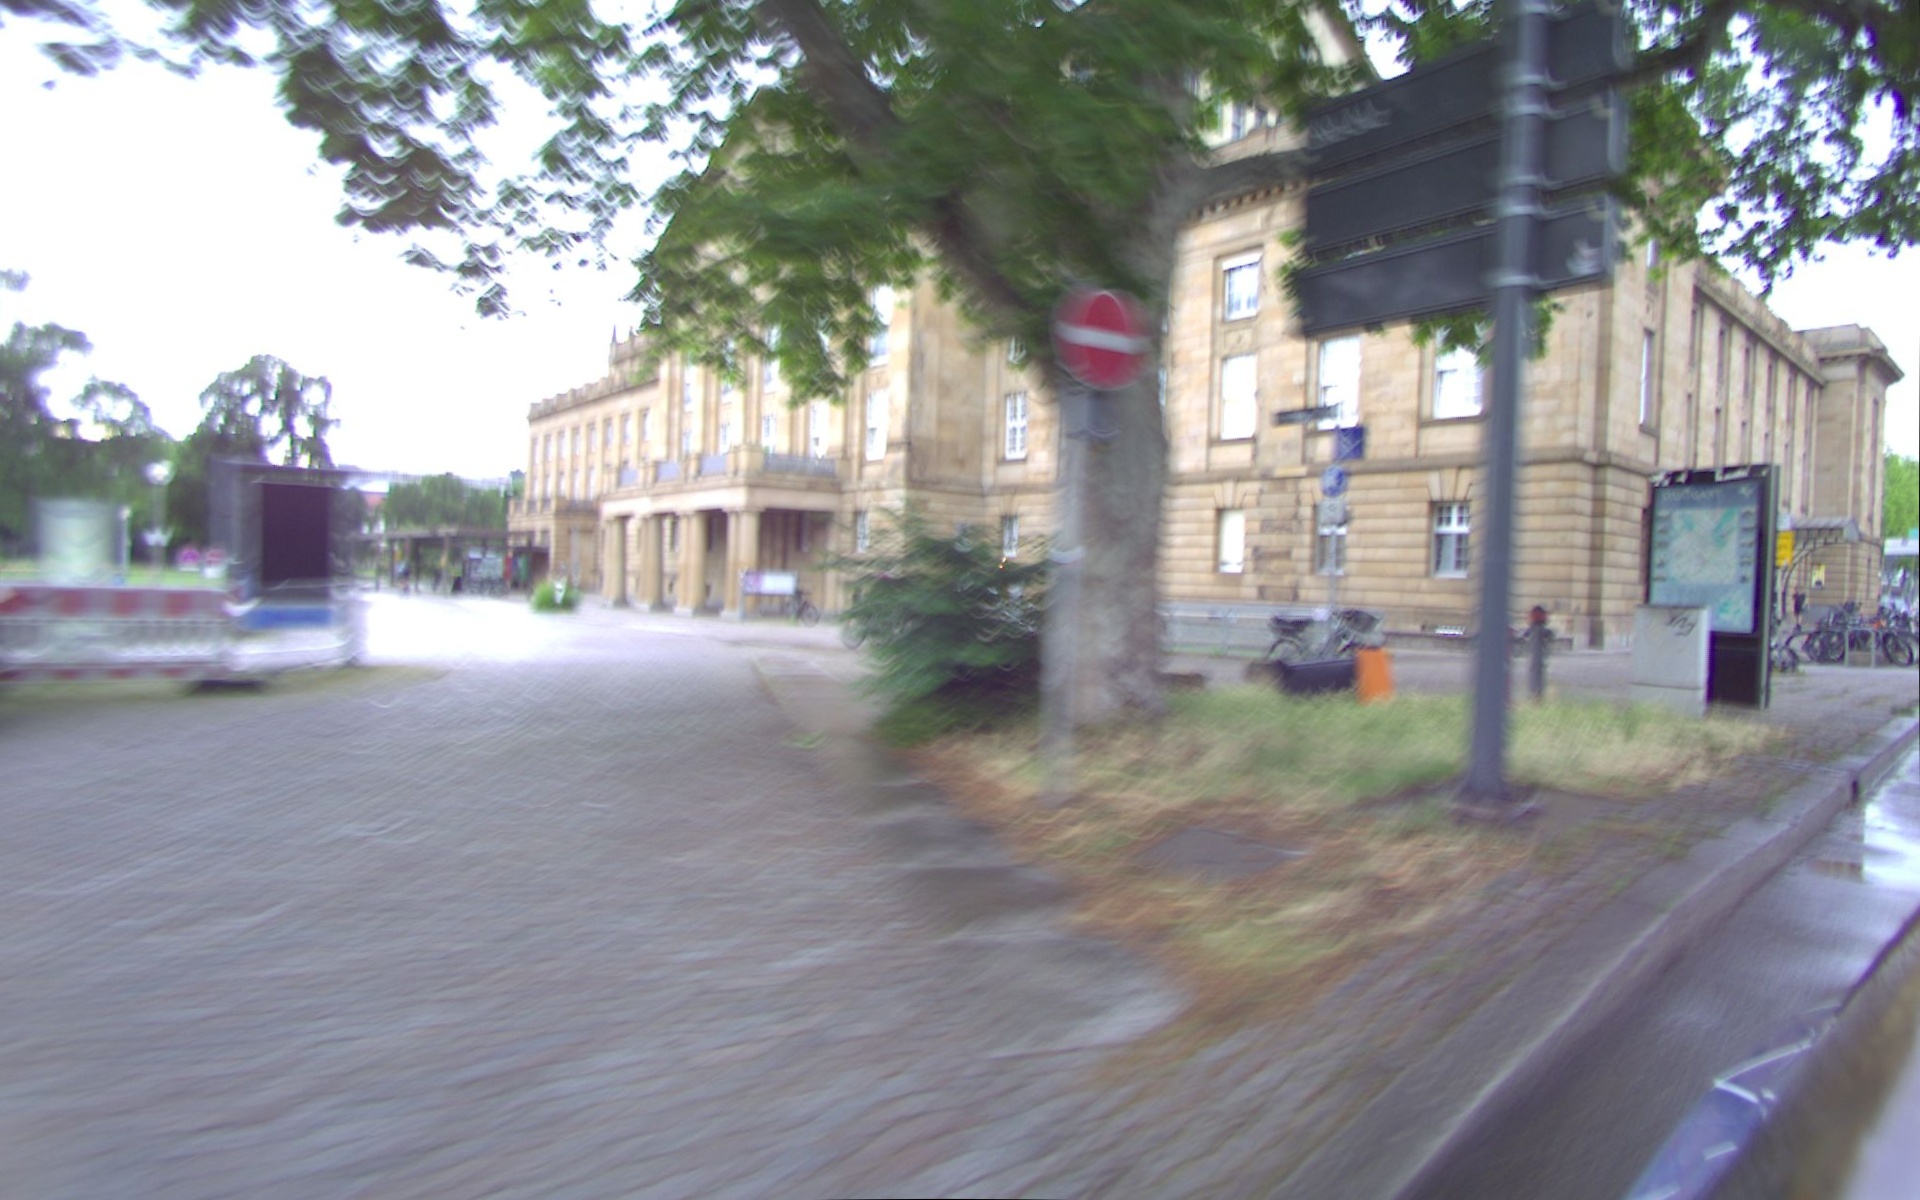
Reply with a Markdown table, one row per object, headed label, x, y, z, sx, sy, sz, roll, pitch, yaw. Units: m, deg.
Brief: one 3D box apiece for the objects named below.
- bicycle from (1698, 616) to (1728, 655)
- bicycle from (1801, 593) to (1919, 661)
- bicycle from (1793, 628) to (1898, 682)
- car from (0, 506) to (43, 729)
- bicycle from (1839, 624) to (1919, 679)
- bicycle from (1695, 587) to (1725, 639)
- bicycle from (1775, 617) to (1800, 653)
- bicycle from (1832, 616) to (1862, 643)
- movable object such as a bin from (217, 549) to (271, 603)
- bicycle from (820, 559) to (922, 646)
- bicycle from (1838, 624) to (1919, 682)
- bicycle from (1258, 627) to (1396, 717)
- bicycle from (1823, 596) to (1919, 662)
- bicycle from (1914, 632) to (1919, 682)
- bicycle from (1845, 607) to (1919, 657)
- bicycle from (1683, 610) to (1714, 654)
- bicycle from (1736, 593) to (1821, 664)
| label | x | y | z | sx | sy | sz | roll | pitch | yaw |
| --- | --- | --- | --- | --- | --- | --- | --- | --- | --- |
| bicycle | 22.360 | 1.043 | 30.043 | 1.759 | 1.093 | 0.352 | 0 | 1 | -43 |
| bicycle | 19.774 | 0.567 | 21.985 | 0.639 | 1.353 | 2.196 | 1 | 1 | -39 |
| bicycle | 18.904 | 1.150 | 21.632 | 0.515 | 1.007 | 1.593 | 1 | 1 | -39 |
| car | -9.410 | 0.010 | 6.498 | 5.146 | 1.630 | 1.997 | 3 | 0 | -43 |
| bicycle | 20.758 | 1.139 | 22.534 | 0.639 | 1.104 | 1.683 | 1 | 1 | -39 |
| bicycle | 22.682 | 0.381 | 30.610 | 1.573 | 1.535 | 0.454 | 1 | 0 | -43 |
| bicycle | 29.684 | 1.234 | 36.305 | 1.663 | 1.230 | 0.464 | 0 | 2 | -44 |
| bicycle | 36.923 | 1.230 | 42.116 | 1.727 | 1.051 | 0.585 | 0 | 2 | -38 |
| movable object such as a bin | -21.050 | -0.711 | 29.746 | 1.227 | 1.474 | 1.494 | 0 | 4 | -38 |
| bicycle | -1.876 | 0.006 | 20.982 | 2.316 | 1.687 | 0.763 | 3 | 2 | 44 |
| bicycle | 19.904 | 1.131 | 21.576 | 0.590 | 1.136 | 1.683 | 2 | 1 | -39 |
| bicycle | 4.707 | 0.891 | 13.081 | 0.564 | 1.033 | 1.646 | 1 | 0 | -36 |
| bicycle | 20.404 | 0.626 | 22.371 | 0.639 | 1.349 | 1.911 | 1 | 1 | -39 |
| bicycle | 19.913 | 1.154 | 20.234 | 1.603 | 0.979 | 0.672 | 1 | 1 | -26 |
| bicycle | 21.944 | 0.748 | 23.537 | 0.747 | 1.073 | 1.987 | 1 | 2 | -44 |
| bicycle | 21.691 | 0.928 | 29.711 | 1.573 | 1.267 | 0.454 | 1 | 0 | -43 |
| bicycle | 14.899 | 0.501 | 18.412 | 1.868 | 1.211 | 0.608 | 1 | 3 | -34 |
